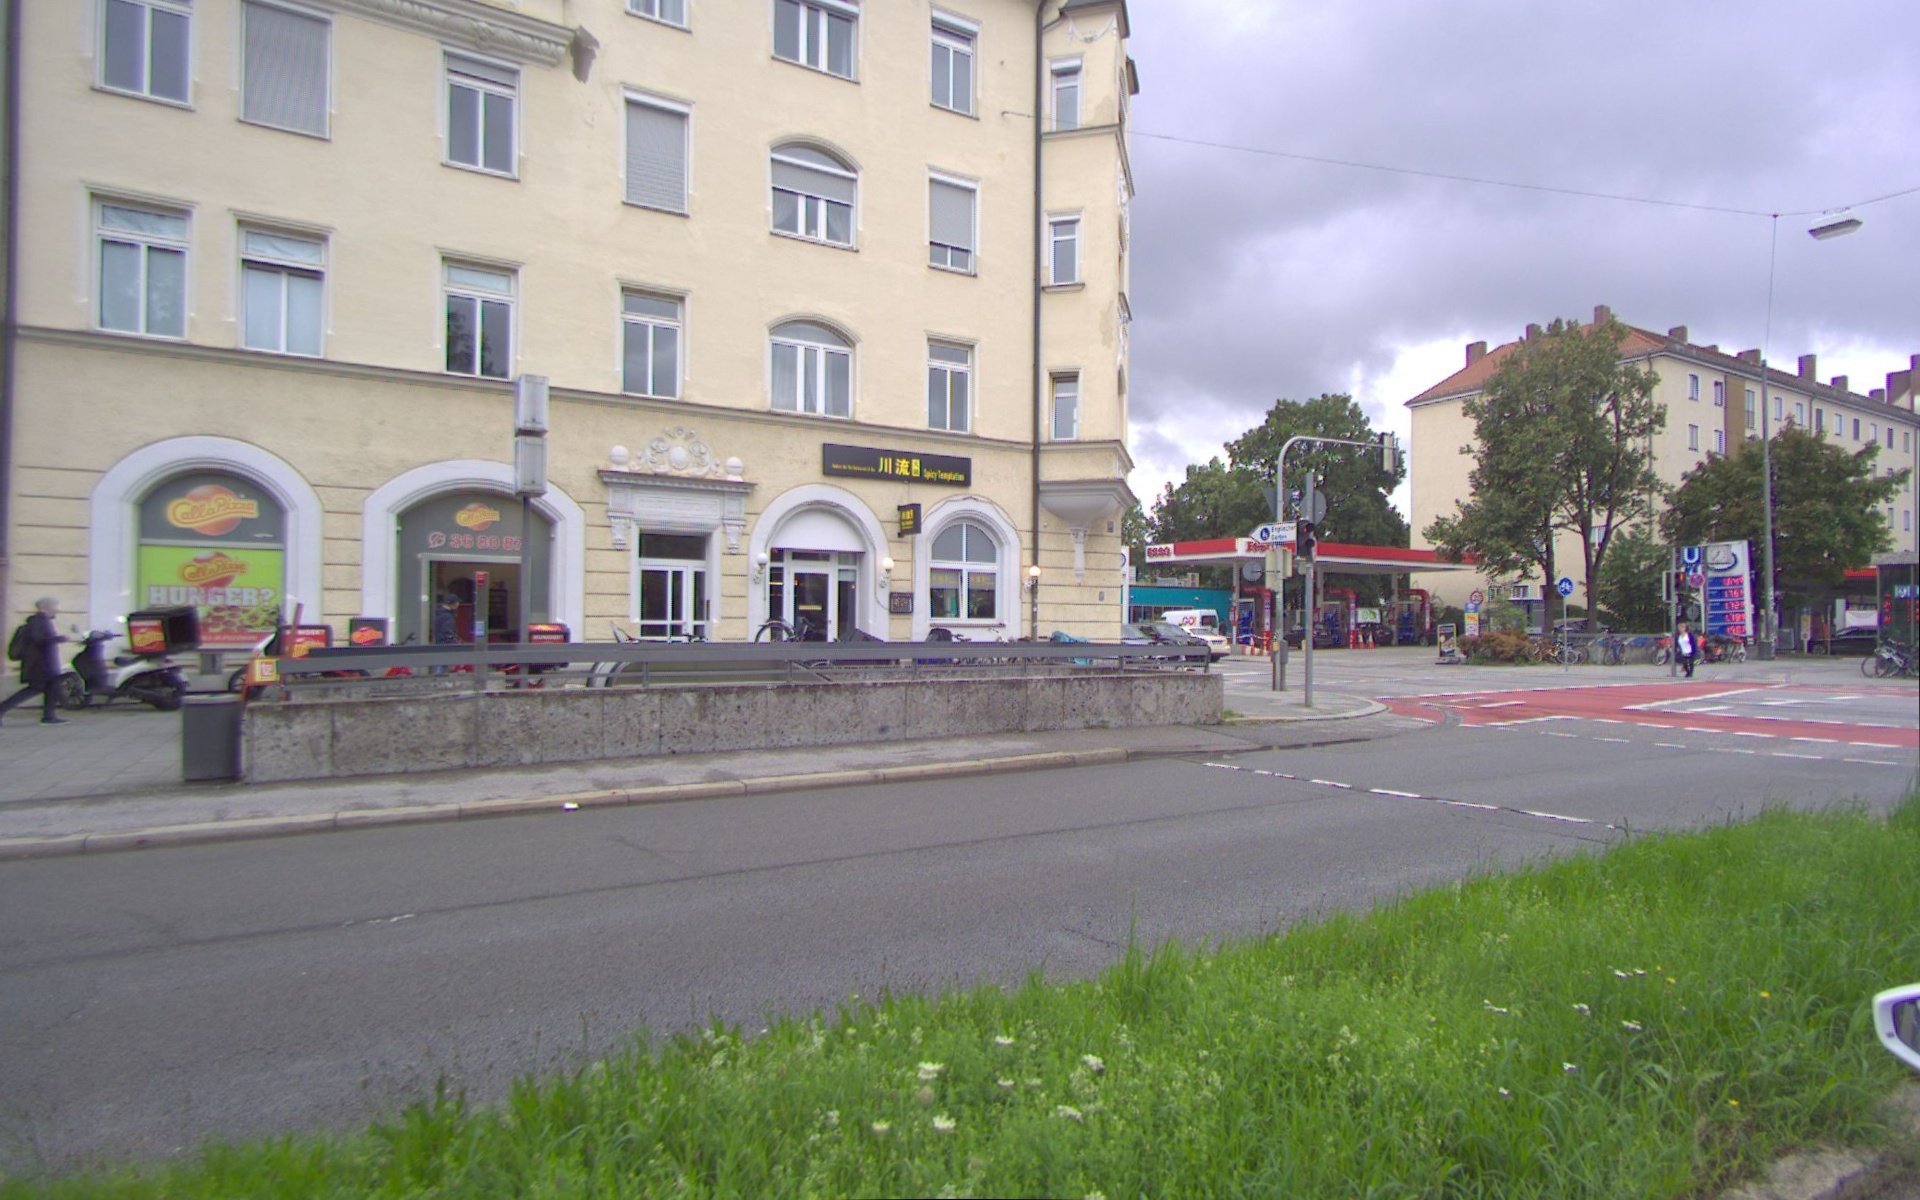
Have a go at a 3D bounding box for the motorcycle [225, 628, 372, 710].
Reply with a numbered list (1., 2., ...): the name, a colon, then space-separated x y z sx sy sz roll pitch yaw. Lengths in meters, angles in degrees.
1. motorcycle: -9.907 1.017 15.054 1.947 1.137 0.610 1 -1 10

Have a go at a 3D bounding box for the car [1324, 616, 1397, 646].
1. car: 24.764 1.891 62.230 1.835 1.808 3.969 1 -1 -30

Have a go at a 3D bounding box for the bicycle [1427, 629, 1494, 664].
1. bicycle: 18.867 1.730 37.898 0.759 1.252 2.163 1 -1 -38

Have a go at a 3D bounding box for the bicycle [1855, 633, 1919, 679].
1. bicycle: 28.110 1.666 29.778 0.695 1.322 2.262 1 -1 -28

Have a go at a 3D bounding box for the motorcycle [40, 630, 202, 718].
1. motorcycle: -11.742 1.013 14.071 1.947 1.145 0.610 1 -1 10

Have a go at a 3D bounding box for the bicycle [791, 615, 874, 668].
1. bicycle: -2.438 0.794 19.326 1.527 0.993 0.470 1 -1 -30

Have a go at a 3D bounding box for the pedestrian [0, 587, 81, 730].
1. pedestrian: -11.474 0.713 12.453 0.762 1.719 0.540 1 -1 -32

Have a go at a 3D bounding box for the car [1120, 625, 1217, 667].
1. car: 7.515 1.640 36.535 1.642 1.430 3.535 1 -1 -27

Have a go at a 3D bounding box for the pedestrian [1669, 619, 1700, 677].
1. pedestrian: 21.632 1.424 29.986 0.568 1.718 0.533 1 -1 -19

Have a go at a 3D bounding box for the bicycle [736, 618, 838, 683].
1. bicycle: -2.741 0.792 15.945 1.527 0.993 0.470 1 -1 -30

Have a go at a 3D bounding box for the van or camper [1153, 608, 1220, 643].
1. van or camper: 15.789 1.776 70.248 1.899 2.354 4.509 1 -1 -34

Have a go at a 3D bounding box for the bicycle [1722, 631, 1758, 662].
1. bicycle: 29.770 1.760 38.333 1.947 1.160 0.603 1 -1 -37

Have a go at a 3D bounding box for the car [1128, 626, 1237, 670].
1. car: 9.161 1.937 41.704 1.763 1.668 4.745 1 -1 -29

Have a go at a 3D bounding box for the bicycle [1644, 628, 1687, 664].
1. bicycle: 25.380 1.645 36.122 2.166 1.252 0.603 1 -1 -37

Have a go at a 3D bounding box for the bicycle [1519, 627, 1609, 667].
1. bicycle: 21.405 1.662 35.669 2.664 1.267 0.792 2 0 31

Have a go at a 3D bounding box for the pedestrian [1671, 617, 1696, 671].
1. pedestrian: 23.627 1.429 32.809 0.581 1.718 0.576 0 -1 30

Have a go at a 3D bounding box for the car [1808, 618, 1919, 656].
1. car: 46.560 1.861 51.833 1.860 1.862 3.965 1 -1 -32

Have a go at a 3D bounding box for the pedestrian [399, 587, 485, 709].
1. pedestrian: -7.571 0.690 14.714 0.583 1.719 0.943 0 -1 33

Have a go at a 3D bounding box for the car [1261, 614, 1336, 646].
1. car: 19.543 1.720 58.145 1.835 1.808 3.969 1 -1 -30

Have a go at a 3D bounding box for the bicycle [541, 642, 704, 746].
1. bicycle: -3.955 1.073 11.877 1.798 1.130 0.392 1 -1 -39

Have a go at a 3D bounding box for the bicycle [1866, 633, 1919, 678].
1. bicycle: 28.786 1.668 30.147 0.685 1.322 2.276 1 -1 -28

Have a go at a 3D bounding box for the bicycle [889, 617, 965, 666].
1. bicycle: -0.674 0.847 20.777 1.527 0.993 0.470 1 -1 -30

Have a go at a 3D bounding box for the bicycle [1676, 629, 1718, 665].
1. bicycle: 26.401 1.654 35.960 2.166 1.252 0.603 1 -1 -37

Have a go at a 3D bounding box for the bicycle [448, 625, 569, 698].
1. bicycle: -6.405 0.852 14.274 1.527 0.993 0.470 1 -1 -30

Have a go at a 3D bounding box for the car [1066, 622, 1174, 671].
1. car: 5.330 1.510 33.752 1.645 1.537 3.599 1 -1 -32

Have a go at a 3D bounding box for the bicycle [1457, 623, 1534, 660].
1. bicycle: 19.936 1.526 37.447 0.785 1.267 2.374 1 0 -40

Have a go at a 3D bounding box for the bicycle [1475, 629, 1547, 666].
1. bicycle: 19.871 1.695 36.248 0.760 1.252 2.161 1 -1 -40
